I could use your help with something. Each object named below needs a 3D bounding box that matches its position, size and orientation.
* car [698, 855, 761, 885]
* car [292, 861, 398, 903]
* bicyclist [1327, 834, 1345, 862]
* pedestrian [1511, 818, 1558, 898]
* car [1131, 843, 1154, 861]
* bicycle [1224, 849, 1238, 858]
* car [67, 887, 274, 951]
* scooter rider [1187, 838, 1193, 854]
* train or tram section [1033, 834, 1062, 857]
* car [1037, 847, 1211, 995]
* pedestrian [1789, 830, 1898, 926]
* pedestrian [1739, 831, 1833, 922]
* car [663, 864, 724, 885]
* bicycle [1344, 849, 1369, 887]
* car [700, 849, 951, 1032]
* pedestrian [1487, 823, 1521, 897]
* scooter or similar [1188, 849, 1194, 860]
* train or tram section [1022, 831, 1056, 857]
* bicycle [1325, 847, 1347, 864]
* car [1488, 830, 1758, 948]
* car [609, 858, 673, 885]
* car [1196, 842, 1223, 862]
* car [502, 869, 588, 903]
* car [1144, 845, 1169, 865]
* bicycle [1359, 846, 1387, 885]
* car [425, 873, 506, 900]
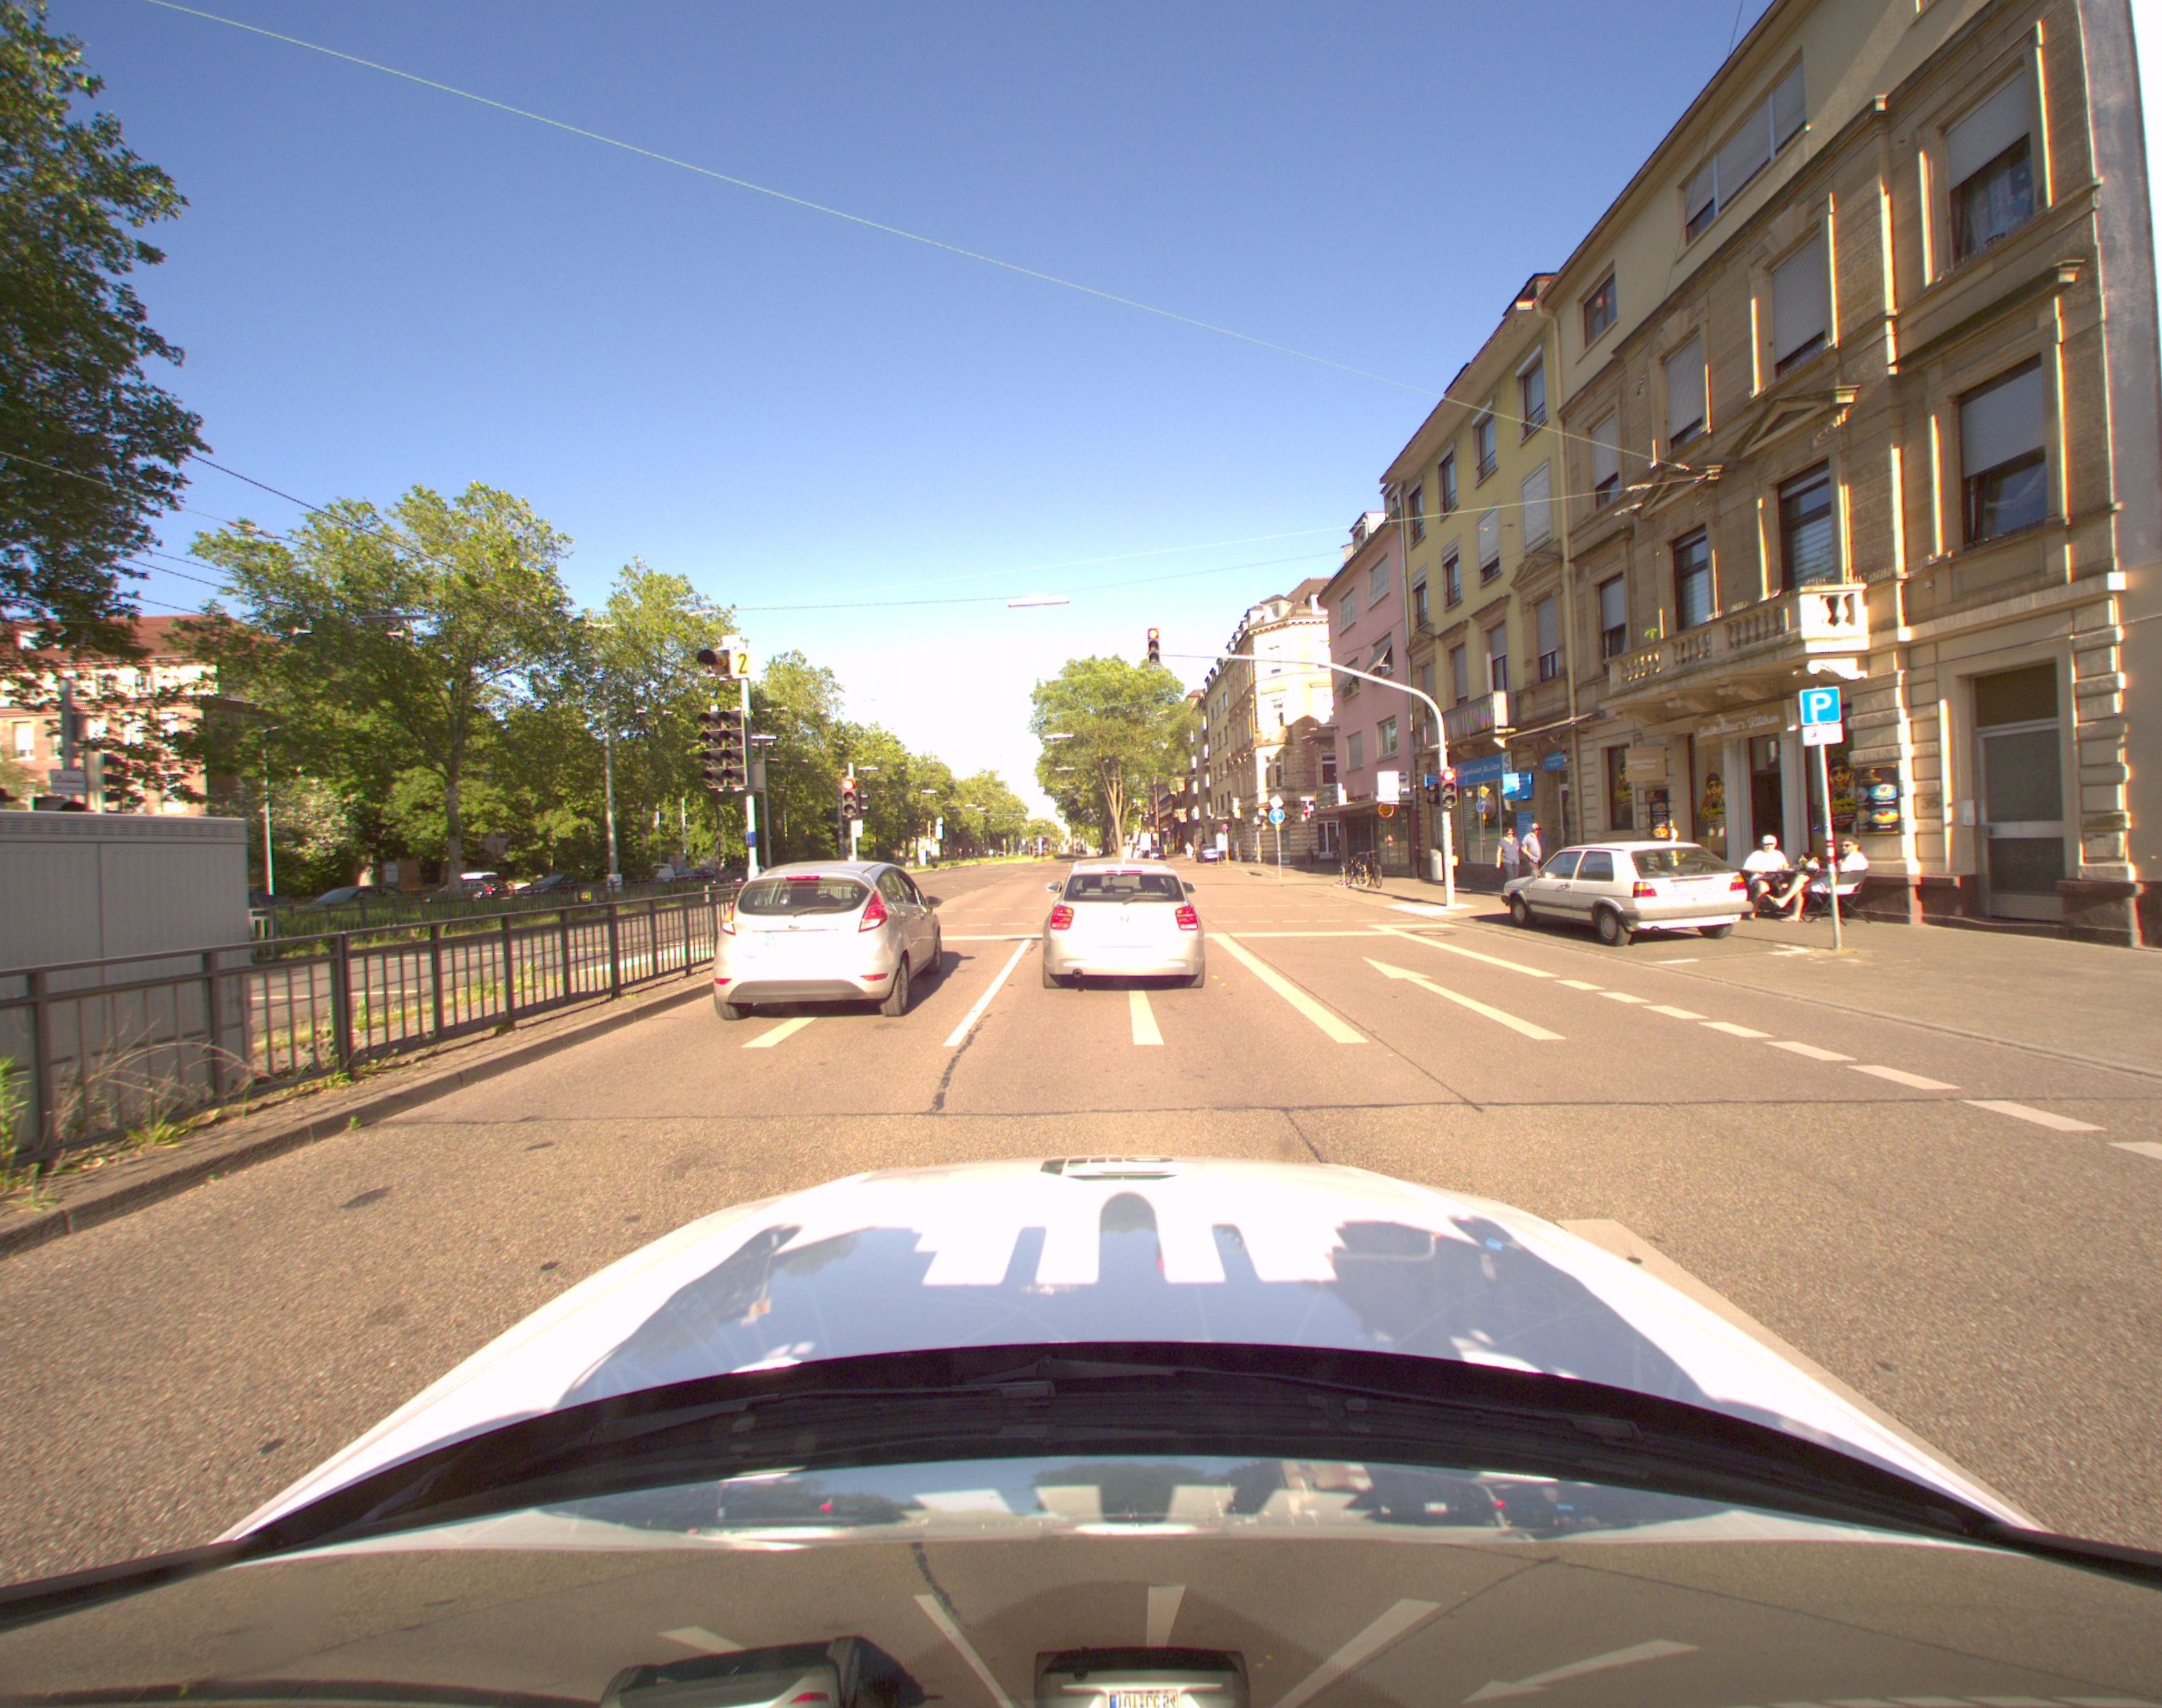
[{"bbox_3d":[-19.461,0.845,45.295,1.679,1.498,4.341,-2,1,-1],"label":"car"},{"bbox_3d":[-40.281,1.481,44.699,1.986,2.013,4.002,-2,1,2],"label":"car"},{"bbox_3d":[14.237,-0.339,45.483,0.541,1.502,0.967,-2,0,43],"label":"bicyclist"},{"bbox_3d":[10.649,0.096,19.133,0.670,1.806,0.531,-5,0,1],"label":"pedestrian"},{"bbox_3d":[5.418,-0.180,71.885,1.719,1.507,3.555,-1,1,0],"label":"car"},{"bbox_3d":[12.292,-0.048,66.757,0.752,0.770,1.945,-2,1,0],"label":"bicycle"},{"bbox_3d":[-27.968,1.937,25.260,1.664,1.509,4.145,-2,1,0],"label":"car"},{"bbox_3d":[10.194,-0.733,75.961,0.462,1.505,0.814,-2,0,13],"label":"scooter rider"},{"bbox_3d":[-6.034,-1.585,150.863,3.990,3.865,17.499,-2,1,2],"label":"train or tram section"},{"bbox_3d":[0.494,0.665,10.210,1.733,1.467,4.002,0,1,2],"label":"car"},{"bbox_3d":[10.991,0.334,11.754,0.899,1.281,0.655,-4,0,-4],"label":"pedestrian"},{"bbox_3d":[10.730,0.332,12.417,0.795,1.281,0.608,-6,0,-1],"label":"pedestrian"},{"bbox_3d":[-27.371,1.400,57.700,1.929,1.349,4.849,-2,0,0],"label":"car"},{"bbox_3d":[8.751,0.431,25.873,0.411,1.140,1.814,-1,1,8],"label":"bicycle"},{"bbox_3d":[-2.477,0.722,8.881,1.605,1.467,3.886,-2,1,-3],"label":"car"},{"bbox_3d":[10.018,0.141,19.295,0.547,1.708,0.389,-2,0,4],"label":"pedestrian"},{"bbox_3d":[10.260,0.056,76.069,0.335,0.988,1.289,-2,1,13],"label":"scooter or similar"},{"bbox_3d":[-6.702,-1.607,133.323,3.954,3.865,17.497,-2,1,2],"label":"train or tram section"},{"bbox_3d":[14.269,0.099,45.502,0.646,0.903,1.346,-1,1,43],"label":"bicycle"},{"bbox_3d":[8.140,0.438,12.734,1.557,1.415,4.006,-5,0,2],"label":"car"},{"bbox_3d":[-27.709,1.068,51.444,1.664,1.509,4.145,-2,1,0],"label":"car"},{"bbox_3d":[10.455,-0.167,66.440,1.729,1.519,3.637,-1,1,1],"label":"car"},{"bbox_3d":[-27.984,1.621,42.648,1.664,1.509,4.145,-2,0,0],"label":"car"},{"bbox_3d":[5.617,0.036,60.744,1.727,1.433,3.683,-1,1,5],"label":"car"},{"bbox_3d":[9.246,0.353,25.857,0.446,1.159,1.762,-2,1,8],"label":"bicycle"},{"bbox_3d":[-37.864,2.000,50.115,3.968,1.494,1.396,-2,0,5],"label":"car"}]
